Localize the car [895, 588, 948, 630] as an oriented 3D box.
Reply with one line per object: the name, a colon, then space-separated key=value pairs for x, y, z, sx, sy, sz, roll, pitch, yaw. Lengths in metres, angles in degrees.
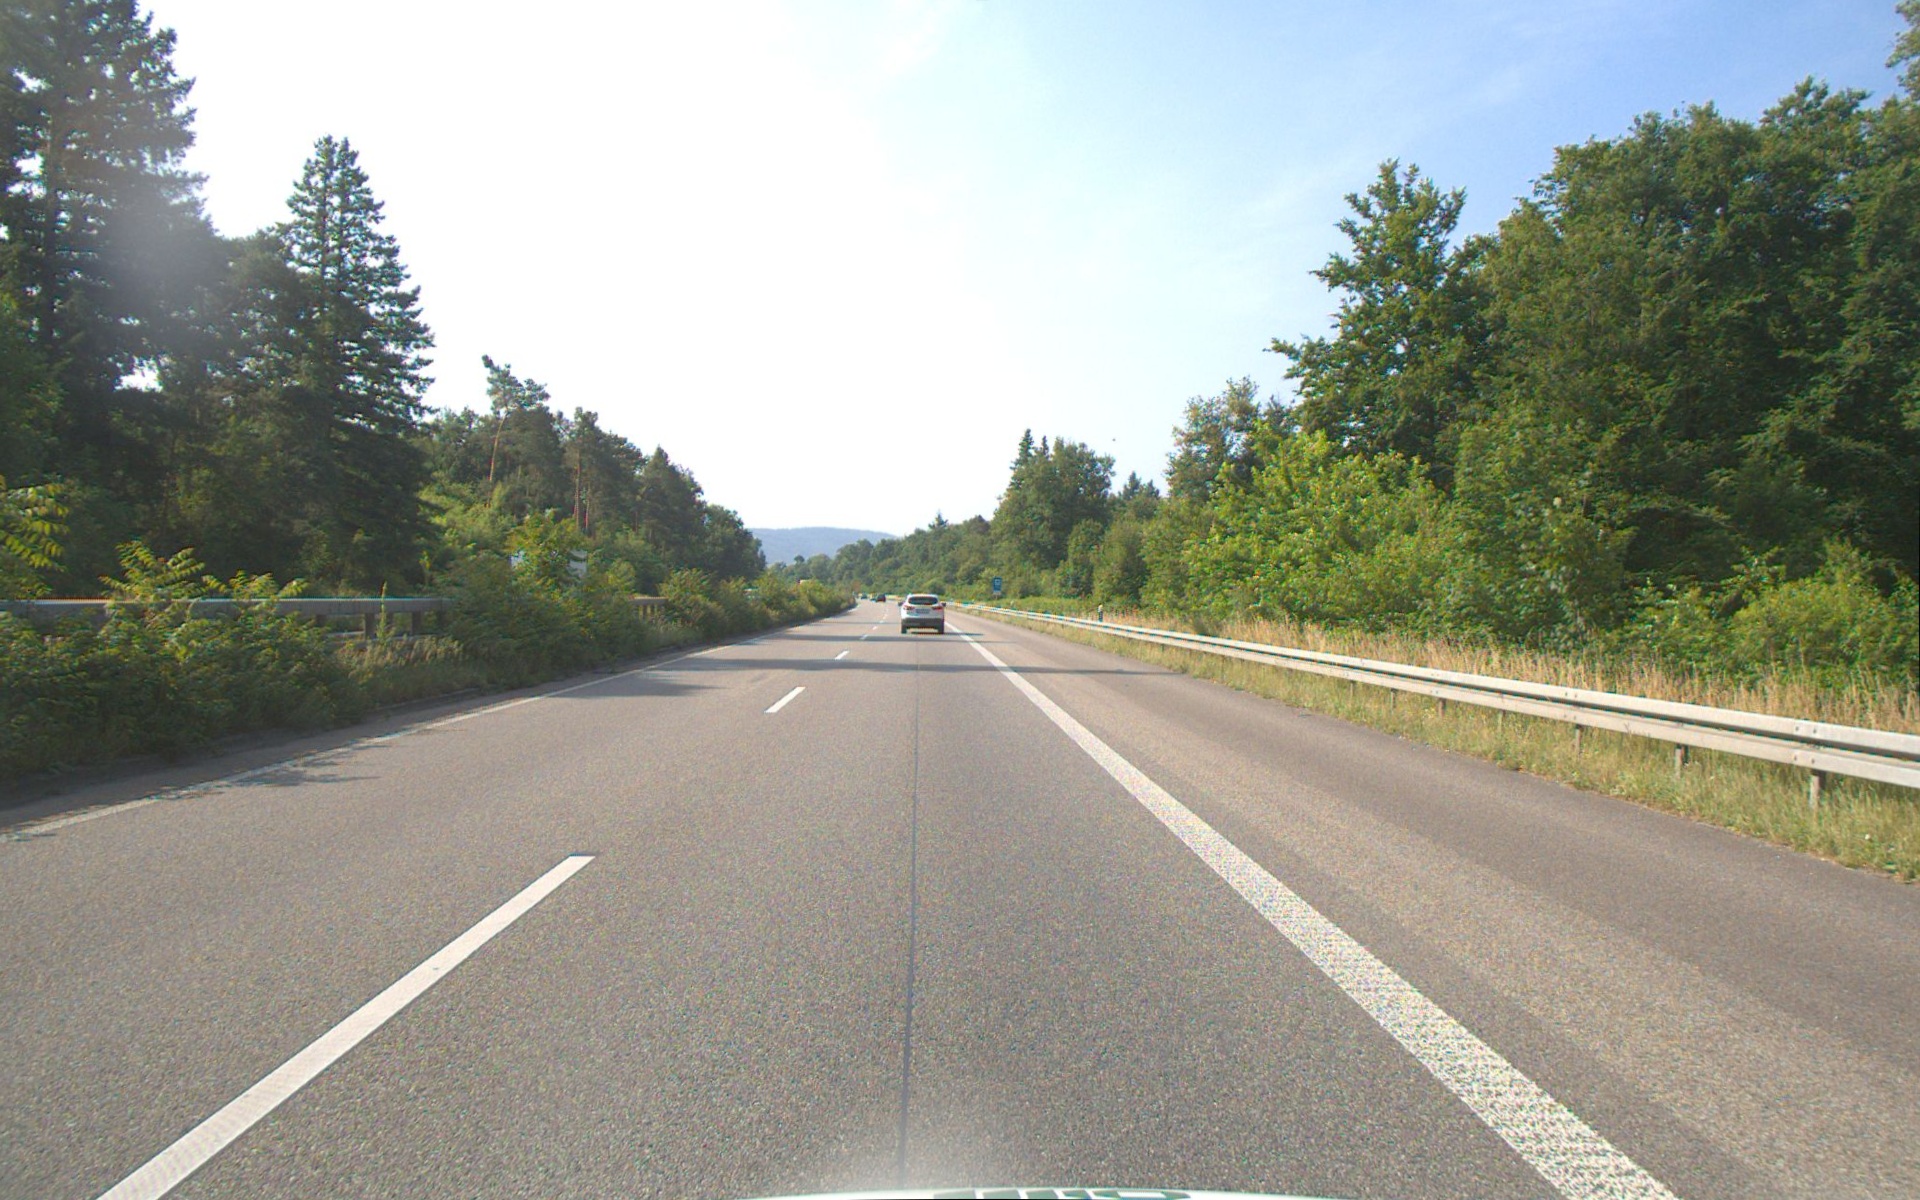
car: x=-1.612 y=0.353 z=68.246 sx=1.837 sy=1.614 sz=3.995 roll=3 pitch=0 yaw=-6

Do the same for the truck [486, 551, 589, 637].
truck: x=-16.760 y=-0.235 z=66.066 sx=2.412 sy=3.232 sz=7.225 roll=-1 pitch=0 yaw=-2
